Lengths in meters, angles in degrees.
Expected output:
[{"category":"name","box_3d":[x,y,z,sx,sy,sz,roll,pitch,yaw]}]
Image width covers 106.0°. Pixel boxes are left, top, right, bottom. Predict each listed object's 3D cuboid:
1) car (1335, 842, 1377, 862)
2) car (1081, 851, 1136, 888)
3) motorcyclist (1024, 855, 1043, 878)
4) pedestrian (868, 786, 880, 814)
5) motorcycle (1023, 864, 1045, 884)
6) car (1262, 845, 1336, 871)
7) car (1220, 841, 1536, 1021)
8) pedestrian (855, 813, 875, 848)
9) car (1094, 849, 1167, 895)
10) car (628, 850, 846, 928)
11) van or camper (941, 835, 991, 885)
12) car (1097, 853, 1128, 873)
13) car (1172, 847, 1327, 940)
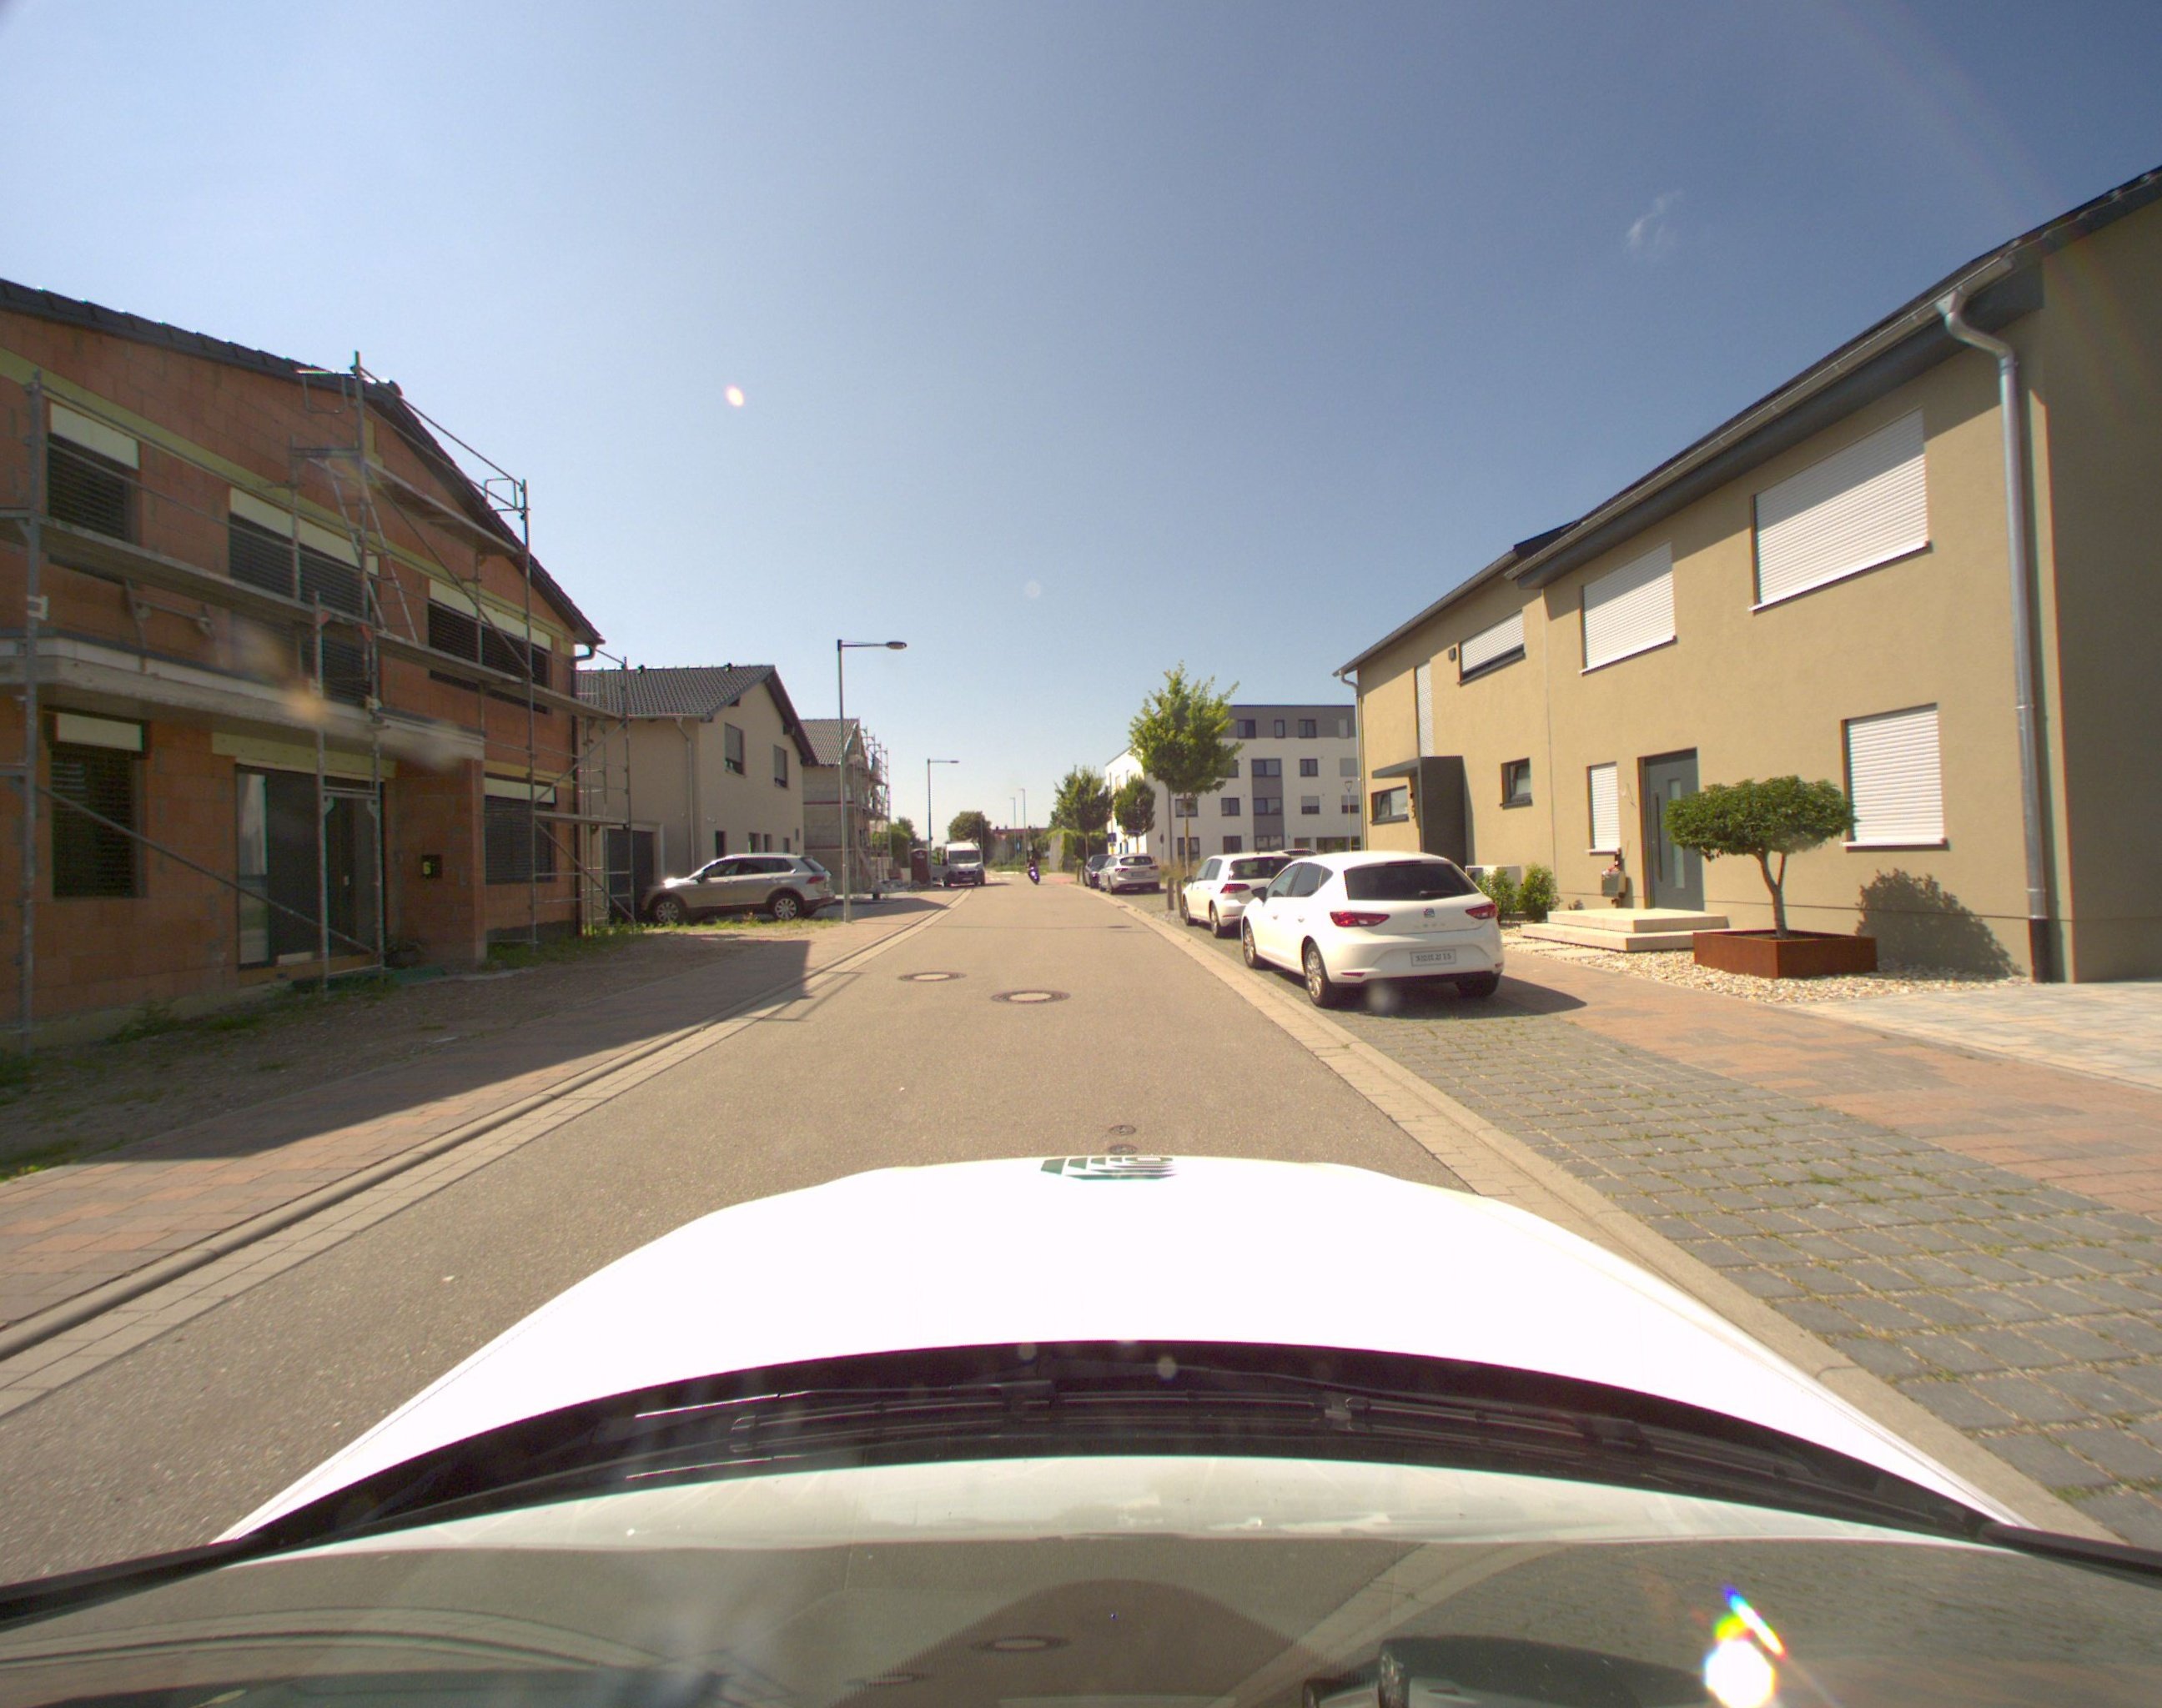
[{"category":"car","box_3d":[22.816,-0.143,67.783,1.875,1.503,3.670,-2,-1,-7]},{"category":"car","box_3d":[1.194,0.674,37.667,1.915,1.469,5.132,-3,0,-4]},{"category":"motorcyclist","box_3d":[-2.611,0.691,44.677,0.924,1.222,0.801,-2,0,-8]},{"category":"pedestrian","box_3d":[-11.664,-3.036,45.950,0.561,1.500,0.746,-2,-2,-10]},{"category":"motorcycle","box_3d":[-2.614,1.089,44.903,0.956,1.035,2.428,-2,-1,-9]},{"category":"car","box_3d":[13.952,0.275,52.158,4.156,1.435,1.877,-2,-1,-9]},{"category":"car","box_3d":[2.991,0.675,9.387,1.809,1.456,4.561,-3,0,-2]},{"category":"pedestrian","box_3d":[-10.870,-1.171,40.935,0.571,1.680,0.753,-5,-3,41]},{"category":"car","box_3d":[1.814,0.637,31.642,1.916,1.511,5.283,-3,0,-6]},{"category":"car","box_3d":[-8.235,0.805,19.877,4.419,1.612,1.996,-2,0,-7]},{"category":"van or camper","box_3d":[-6.585,0.374,45.939,2.275,2.553,6.340,-2,-1,-12]},{"category":"car","box_3d":[2.471,0.670,64.328,1.677,1.469,4.104,-1,0,-9]},{"category":"car","box_3d":[3.045,0.635,15.719,1.776,1.426,4.509,-3,0,-3]}]
